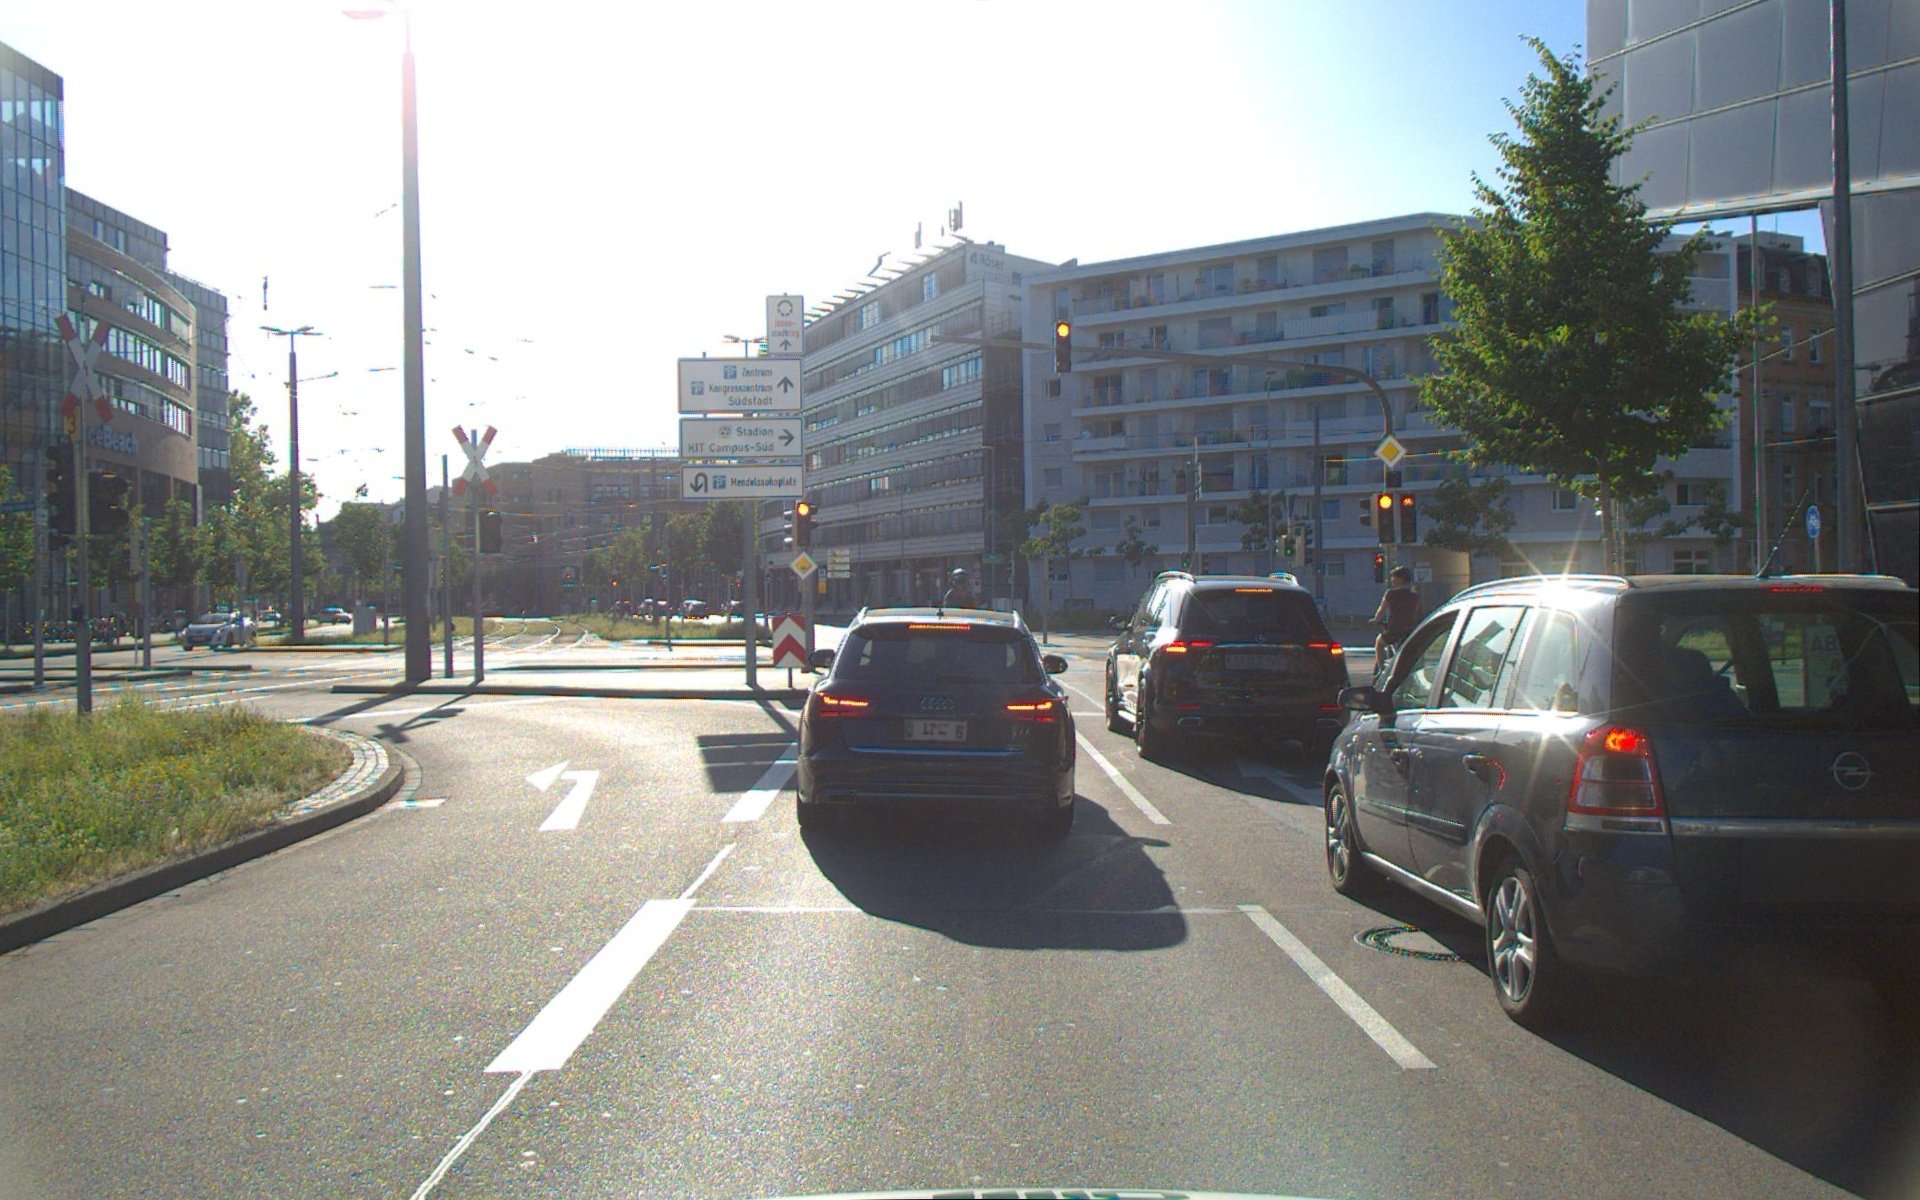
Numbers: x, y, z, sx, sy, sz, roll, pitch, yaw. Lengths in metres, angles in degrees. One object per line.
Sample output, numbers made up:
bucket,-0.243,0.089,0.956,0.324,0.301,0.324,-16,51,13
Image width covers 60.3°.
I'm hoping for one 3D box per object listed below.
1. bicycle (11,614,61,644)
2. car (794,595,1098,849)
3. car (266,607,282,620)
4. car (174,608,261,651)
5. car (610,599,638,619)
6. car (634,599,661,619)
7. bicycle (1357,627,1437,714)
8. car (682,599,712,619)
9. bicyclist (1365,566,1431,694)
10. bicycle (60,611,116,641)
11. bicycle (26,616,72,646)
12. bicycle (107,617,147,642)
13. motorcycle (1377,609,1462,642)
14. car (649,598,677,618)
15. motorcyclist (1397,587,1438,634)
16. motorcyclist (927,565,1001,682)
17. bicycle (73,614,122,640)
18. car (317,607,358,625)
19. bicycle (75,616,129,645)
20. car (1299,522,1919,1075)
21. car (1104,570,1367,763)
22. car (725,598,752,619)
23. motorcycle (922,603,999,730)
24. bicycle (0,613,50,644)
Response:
bicycle,-46.082,1.448,82.483,2.039,1.458,0.861,-2,-1,8
car,-0.117,0.727,11.905,1.805,1.479,3.999,1,0,-1
car,-86.364,1.691,208.181,1.630,1.616,3.328,-1,0,-28
car,-29.848,1.162,66.633,1.956,1.572,4.522,-1,0,-7
car,-30.771,0.818,151.327,1.963,1.736,3.978,-2,-1,-19
car,-28.823,0.823,152.522,1.963,1.736,3.978,-2,-1,-19
bicycle,5.849,0.926,22.230,0.640,1.061,1.930,-1,0,2
car,-22.842,0.749,143.555,1.962,1.624,3.980,-2,-1,-17
bicyclist,5.879,0.386,22.229,0.640,1.671,0.972,-1,0,2
bicycle,-46.075,1.374,87.402,2.507,1.458,0.905,-2,-1,8
bicycle,-46.047,1.550,83.617,1.935,1.458,0.807,-2,-1,8
bicycle,-50.542,1.774,100.344,2.092,1.458,0.759,-2,-1,8
motorcycle,15.044,0.825,54.219,2.406,1.018,1.170,-1,0,-7
car,-26.232,0.727,146.001,1.961,1.624,3.983,-2,-1,-16
motorcyclist,14.989,0.333,54.217,0.907,1.507,1.170,-1,0,-7
motorcyclist,0.038,0.268,19.574,0.845,1.349,0.681,-1,0,-1
bicycle,-50.081,1.555,96.036,2.551,1.458,0.772,-2,-1,8
car,-57.535,1.505,152.894,3.280,1.616,1.654,-1,0,24
bicycle,-46.496,1.651,89.643,2.507,1.458,0.905,-2,-1,8
car,2.829,0.637,7.351,1.710,1.725,4.260,1,0,-1
car,2.719,0.592,17.340,1.962,1.745,4.371,1,0,-1
car,-20.911,0.802,155.879,1.961,1.870,3.983,-2,-1,-16
motorcycle,-0.004,0.753,19.562,0.845,1.417,1.893,-1,0,-1
bicycle,-46.229,1.390,81.433,2.319,1.458,1.077,-2,-1,8
